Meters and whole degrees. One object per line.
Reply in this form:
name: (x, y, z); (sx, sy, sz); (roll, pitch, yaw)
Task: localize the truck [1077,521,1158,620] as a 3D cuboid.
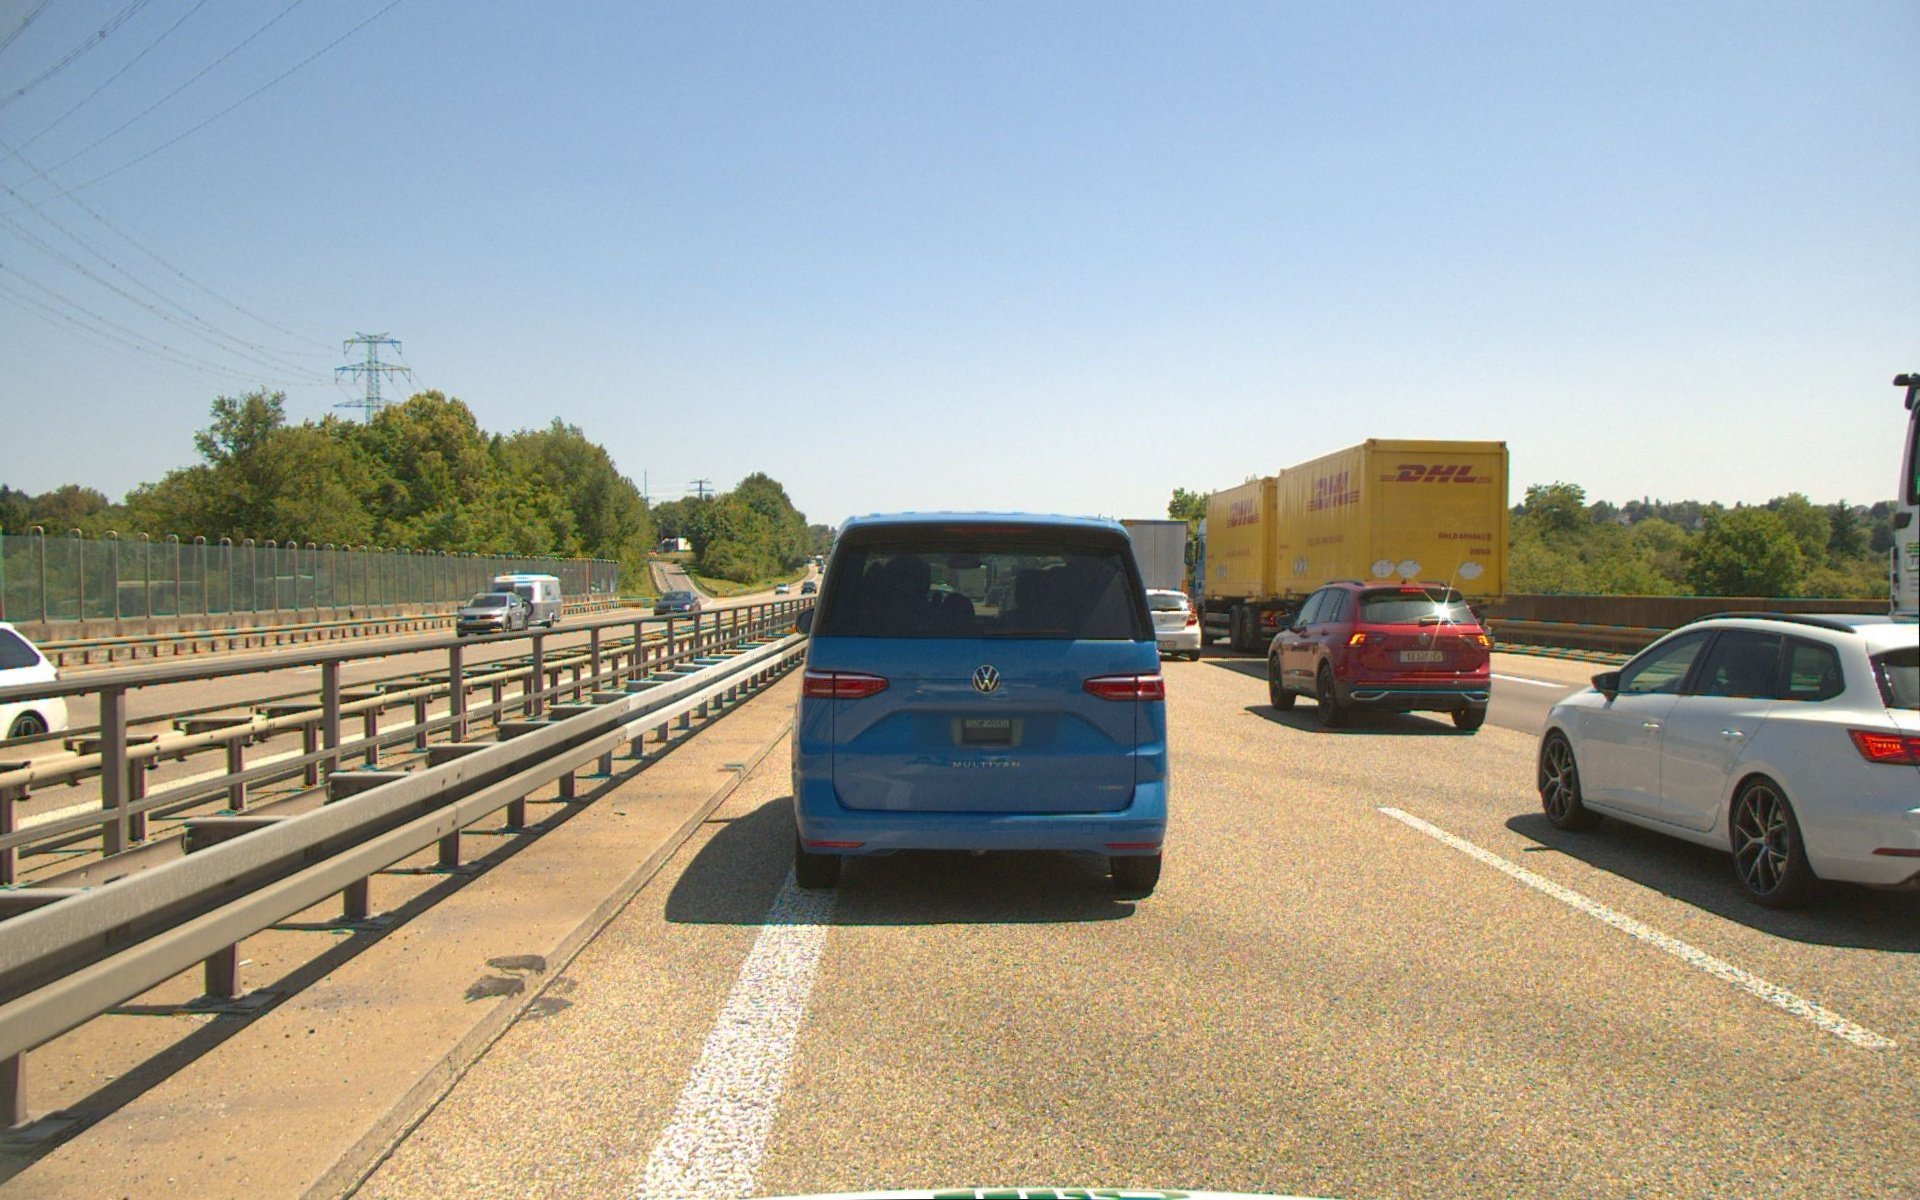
truck: (6.960, -1.280, 74.034); (2.712, 4.167, 6.982); (1, 0, -2)

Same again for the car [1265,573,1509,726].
car: (4.974, 0.516, 19.818); (1.813, 1.636, 3.999); (1, 1, -1)

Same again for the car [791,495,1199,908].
car: (0.121, 0.449, 9.508); (1.844, 1.869, 3.999); (0, 0, -1)

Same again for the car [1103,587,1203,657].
car: (4.194, 0.442, 36.491); (1.800, 1.438, 4.000); (0, 0, 1)

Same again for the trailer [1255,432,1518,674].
trailer: (8.105, -0.795, 32.800); (2.647, 4.094, 8.927); (1, 0, -2)

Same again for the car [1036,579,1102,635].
car: (3.283, 0.226, 50.487); (1.680, 1.614, 3.820); (1, -1, -1)

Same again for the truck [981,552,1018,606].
truck: (3.794, -1.979, 162.382); (2.777, 5.128, 11.140); (1, 0, -3)

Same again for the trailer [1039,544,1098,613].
trailer: (6.271, -1.188, 97.092); (2.331, 3.809, 11.184); (1, 0, -2)

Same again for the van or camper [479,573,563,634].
van or camper: (-17.495, 0.127, 66.122); (1.953, 2.250, 5.535); (-3, 0, -2)

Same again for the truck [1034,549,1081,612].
truck: (6.039, -1.191, 103.229); (2.320, 3.787, 6.031); (1, 0, -2)

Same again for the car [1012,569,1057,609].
car: (3.163, -0.452, 70.961); (1.680, 1.567, 3.819); (1, -1, -1)

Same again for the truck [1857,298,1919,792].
truck: (8.676, -0.360, 7.707); (2.793, 3.665, 10.765); (1, 0, -2)

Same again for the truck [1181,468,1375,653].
truck: (7.862, -0.874, 42.442); (2.667, 4.125, 10.333); (1, 0, -1)

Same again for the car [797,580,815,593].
car: (-18.655, -1.615, 200.238); (1.764, 1.410, 4.262); (1, 0, -1)

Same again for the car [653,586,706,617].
car: (-13.597, 0.041, 80.277); (1.818, 1.422, 4.674); (-1, 1, -1)

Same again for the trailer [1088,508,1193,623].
trailer: (7.139, -1.277, 67.141); (2.699, 4.218, 11.308); (1, 0, -1)

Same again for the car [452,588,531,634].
car: (-17.286, 0.388, 61.230); (1.819, 1.572, 4.199); (-3, 0, -2)

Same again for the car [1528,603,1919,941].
car: (4.834, 0.752, 9.244); (1.745, 1.411, 4.186); (0, 0, -2)

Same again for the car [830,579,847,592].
car: (-15.285, -1.818, 208.066); (1.803, 1.556, 3.557); (-2, 0, -1)

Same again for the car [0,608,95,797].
car: (-8.391, 0.842, 12.290); (1.722, 1.474, 4.285); (-2, 0, -2)
